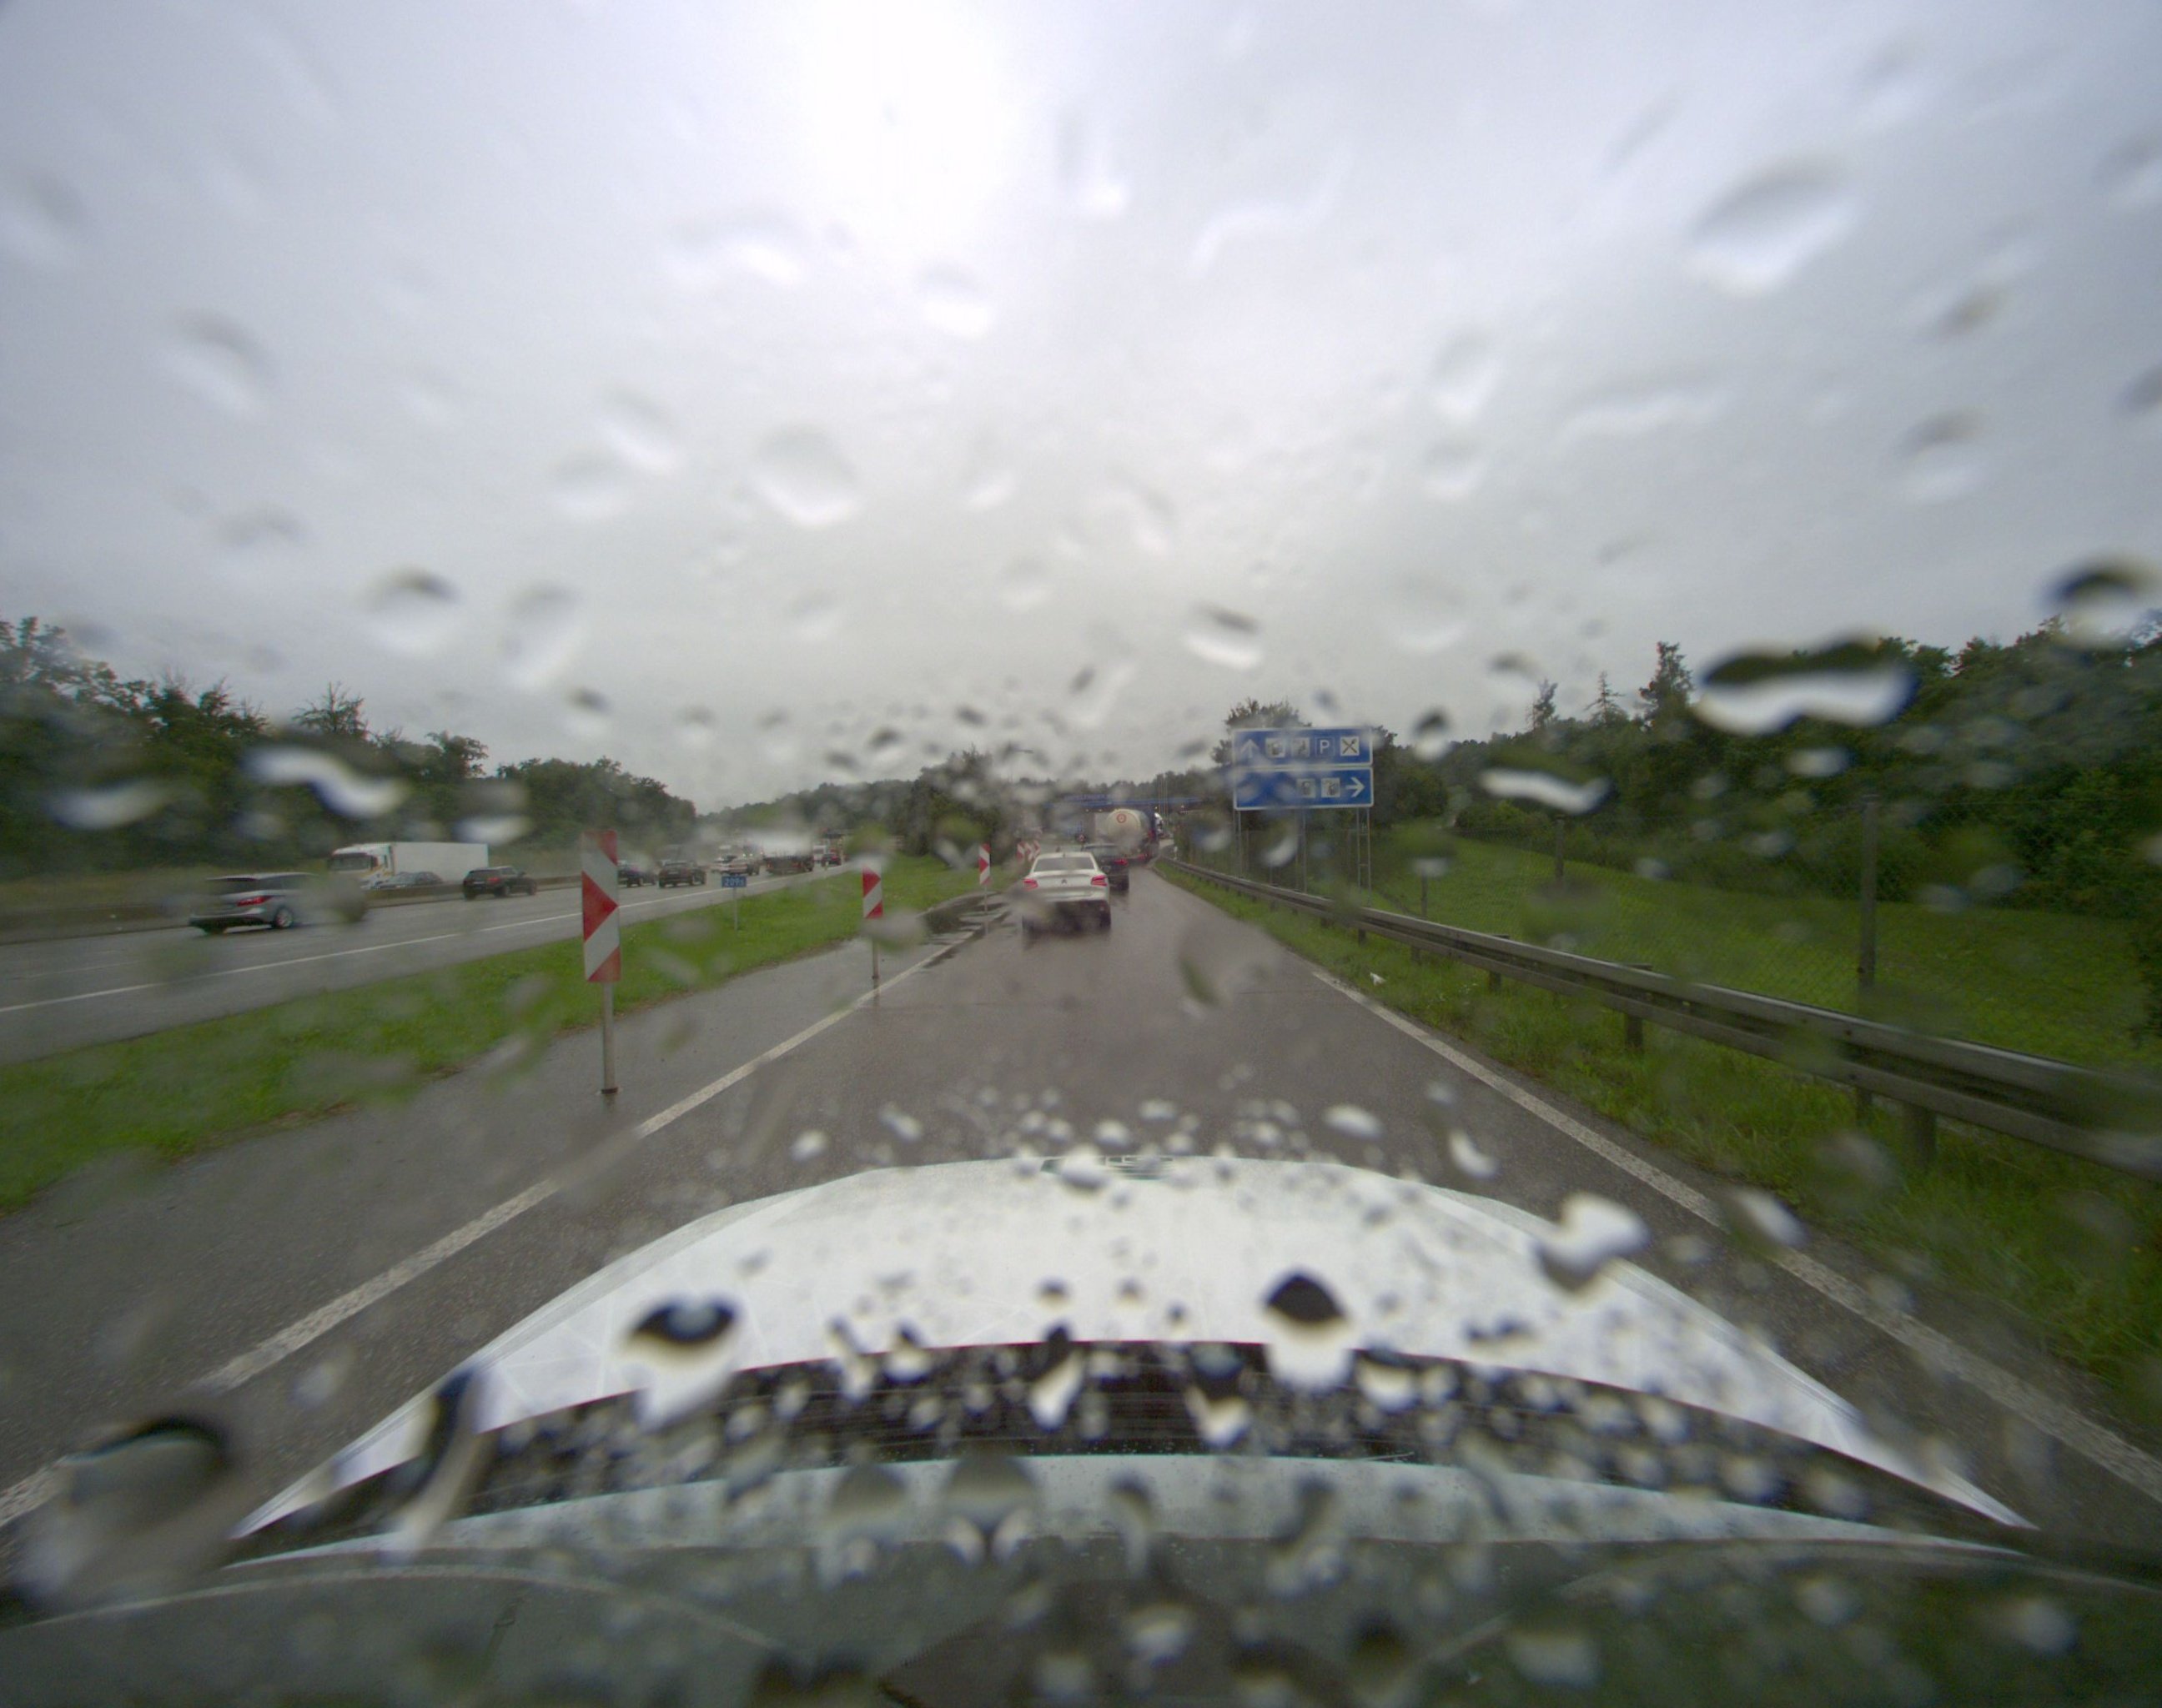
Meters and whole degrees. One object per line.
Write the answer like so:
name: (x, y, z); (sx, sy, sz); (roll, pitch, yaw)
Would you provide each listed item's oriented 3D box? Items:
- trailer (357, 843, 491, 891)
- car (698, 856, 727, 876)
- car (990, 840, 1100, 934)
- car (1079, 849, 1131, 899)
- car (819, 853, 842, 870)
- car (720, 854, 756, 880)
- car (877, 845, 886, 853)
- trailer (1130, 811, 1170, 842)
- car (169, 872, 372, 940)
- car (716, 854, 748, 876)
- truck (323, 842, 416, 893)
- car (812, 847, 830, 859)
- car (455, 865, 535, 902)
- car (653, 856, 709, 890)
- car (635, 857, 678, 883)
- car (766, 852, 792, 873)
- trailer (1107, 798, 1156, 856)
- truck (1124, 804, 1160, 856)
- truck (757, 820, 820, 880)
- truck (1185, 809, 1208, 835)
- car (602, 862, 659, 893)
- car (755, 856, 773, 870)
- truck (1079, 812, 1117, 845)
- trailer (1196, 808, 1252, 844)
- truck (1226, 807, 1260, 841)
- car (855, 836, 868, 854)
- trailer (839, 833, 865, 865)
trailer: (-53.540, 0.967, 67.060); (2.651, 3.497, 13.431); (-2, 0, -12)
car: (-40.130, 1.297, 88.789); (1.995, 2.013, 3.985); (-3, 1, -11)
car: (-0.663, 0.596, 17.221); (1.987, 1.679, 4.000); (-2, 0, 0)
car: (0.853, 0.676, 29.291); (1.736, 1.667, 4.001); (0, 0, 2)
car: (-28.299, 0.869, 92.038); (1.995, 1.816, 3.985); (-1, 0, -11)
car: (-27.651, 1.015, 65.774); (1.790, 1.971, 4.317); (-2, 0, -12)
car: (-50.685, -1.240, 207.113); (1.999, 2.013, 3.976); (1, 0, -18)
trailer: (9.813, -3.932, 117.257); (3.213, 4.188, 11.502); (-2, 2, -7)
car: (-22.925, 1.395, 23.325); (1.787, 1.526, 4.323); (-3, 1, -7)
car: (-33.538, 1.053, 78.363); (1.994, 2.013, 3.985); (0, 0, -11)
truck: (-52.025, 0.945, 59.750); (2.648, 3.451, 5.578); (-2, 0, -12)
car: (-40.196, -0.123, 126.108); (1.993, 1.815, 3.988); (-1, 1, -9)
car: (-30.985, 1.508, 43.188); (1.776, 1.736, 4.085); (-3, 1, -10)
car: (-22.367, 1.041, 45.682); (1.776, 1.736, 3.833); (-3, 0, -10)
car: (-35.933, 1.352, 69.049); (1.994, 2.013, 3.985); (-3, 0, -11)
car: (-31.631, 0.879, 85.438); (1.997, 2.013, 3.981); (-2, 0, -14)
trailer: (3.317, -1.714, 51.550); (1.968, 3.224, 10.350); (-2, 2, 9)
truck: (4.418, -1.724, 58.145); (2.040, 3.530, 4.760); (-2, 2, 10)
truck: (-23.714, -0.263, 66.578); (2.851, 4.292, 11.797); (-3, 0, -11)
truck: (17.225, -4.807, 121.983); (2.421, 3.805, 3.994); (-3, 3, -5)
car: (-28.028, 1.417, 50.824); (1.776, 1.736, 4.086); (-2, 0, -10)
car: (-43.917, 1.234, 112.948); (1.699, 1.786, 3.769); (-3, 1, -13)
truck: (2.064, -3.299, 105.104); (2.370, 3.873, 12.416); (-3, 2, -9)
trailer: (14.908, -2.940, 84.007); (2.111, 3.440, 10.319); (-2, 2, 30)
truck: (17.752, -3.269, 88.916); (2.125, 3.512, 4.676); (-2, 2, 30)
car: (-43.705, -1.742, 162.013); (2.377, 3.485, 4.789); (1, 0, -16)
trailer: (-36.291, -0.708, 128.924); (3.556, 4.611, 12.054); (-3, 0, -16)
